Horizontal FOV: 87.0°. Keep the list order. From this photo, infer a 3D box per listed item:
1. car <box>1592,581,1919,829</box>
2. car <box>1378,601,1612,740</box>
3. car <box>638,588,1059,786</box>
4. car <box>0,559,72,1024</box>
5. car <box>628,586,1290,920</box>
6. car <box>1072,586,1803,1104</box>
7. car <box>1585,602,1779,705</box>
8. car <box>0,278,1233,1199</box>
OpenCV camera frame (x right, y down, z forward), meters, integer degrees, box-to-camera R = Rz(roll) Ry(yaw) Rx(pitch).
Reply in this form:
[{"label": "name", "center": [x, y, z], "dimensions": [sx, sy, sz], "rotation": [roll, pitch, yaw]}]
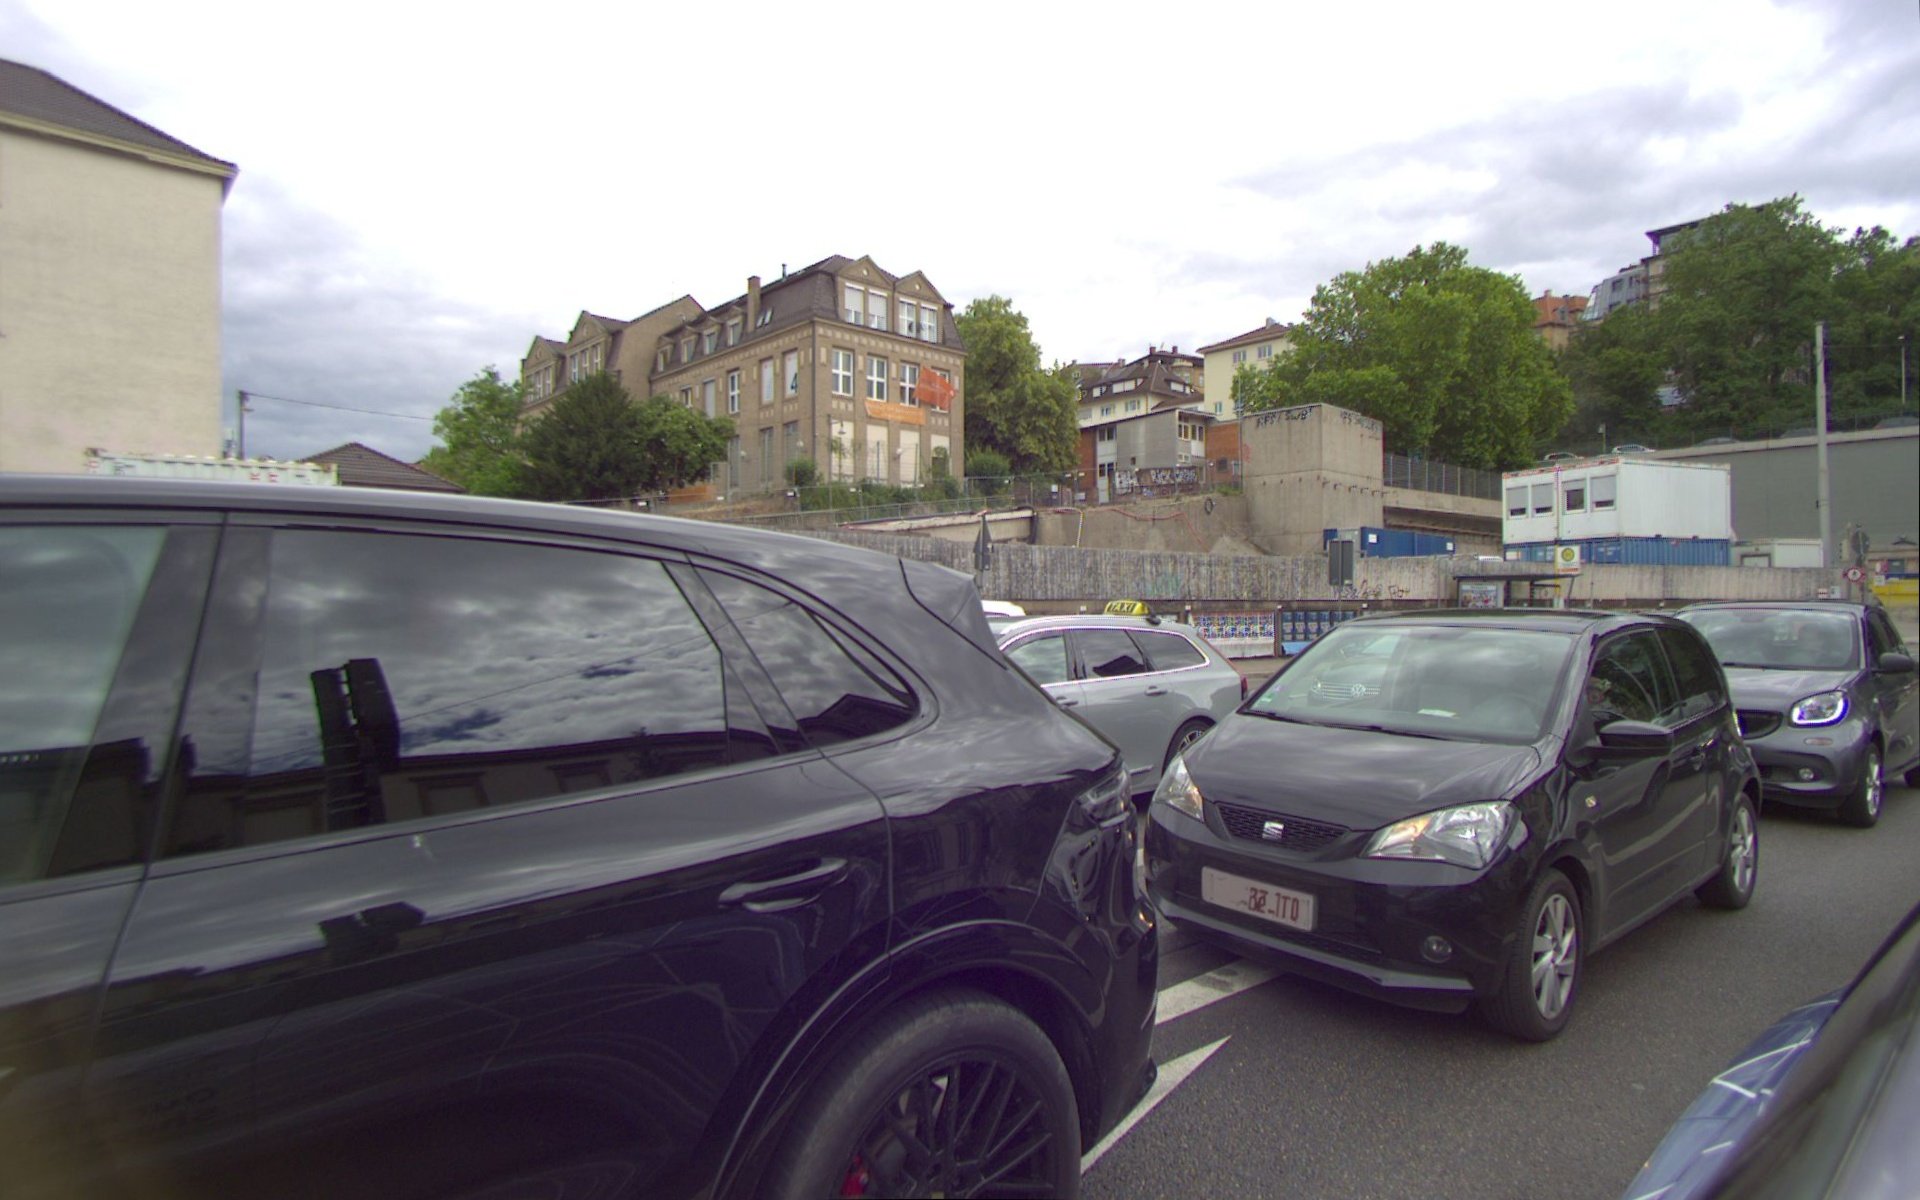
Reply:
[{"label": "car", "center": [6.709, 0.666, 8.184], "dimensions": [3.511, 1.563, 1.720], "rotation": [0, 0, -40]}, {"label": "car", "center": [6.516, 0.751, 12.270], "dimensions": [2.667, 1.449, 1.664], "rotation": [-1, 0, -41]}, {"label": "car", "center": [-1.006, 0.711, 10.477], "dimensions": [4.136, 1.645, 1.679], "rotation": [-1, 0, -41]}, {"label": "car", "center": [-5.303, 0.692, 3.037], "dimensions": [3.930, 1.645, 1.679], "rotation": [-1, 0, -41]}, {"label": "car", "center": [0.270, 0.735, 7.260], "dimensions": [4.725, 1.645, 1.827], "rotation": [-1, 0, -41]}, {"label": "car", "center": [2.437, 0.683, 4.789], "dimensions": [3.636, 1.476, 1.827], "rotation": [-1, 0, -41]}, {"label": "car", "center": [11.508, 0.752, 16.053], "dimensions": [3.740, 1.383, 1.679], "rotation": [-1, 0, -41]}, {"label": "car", "center": [-1.621, 0.551, 1.599], "dimensions": [4.406, 1.737, 1.827], "rotation": [-1, 0, -41]}]
